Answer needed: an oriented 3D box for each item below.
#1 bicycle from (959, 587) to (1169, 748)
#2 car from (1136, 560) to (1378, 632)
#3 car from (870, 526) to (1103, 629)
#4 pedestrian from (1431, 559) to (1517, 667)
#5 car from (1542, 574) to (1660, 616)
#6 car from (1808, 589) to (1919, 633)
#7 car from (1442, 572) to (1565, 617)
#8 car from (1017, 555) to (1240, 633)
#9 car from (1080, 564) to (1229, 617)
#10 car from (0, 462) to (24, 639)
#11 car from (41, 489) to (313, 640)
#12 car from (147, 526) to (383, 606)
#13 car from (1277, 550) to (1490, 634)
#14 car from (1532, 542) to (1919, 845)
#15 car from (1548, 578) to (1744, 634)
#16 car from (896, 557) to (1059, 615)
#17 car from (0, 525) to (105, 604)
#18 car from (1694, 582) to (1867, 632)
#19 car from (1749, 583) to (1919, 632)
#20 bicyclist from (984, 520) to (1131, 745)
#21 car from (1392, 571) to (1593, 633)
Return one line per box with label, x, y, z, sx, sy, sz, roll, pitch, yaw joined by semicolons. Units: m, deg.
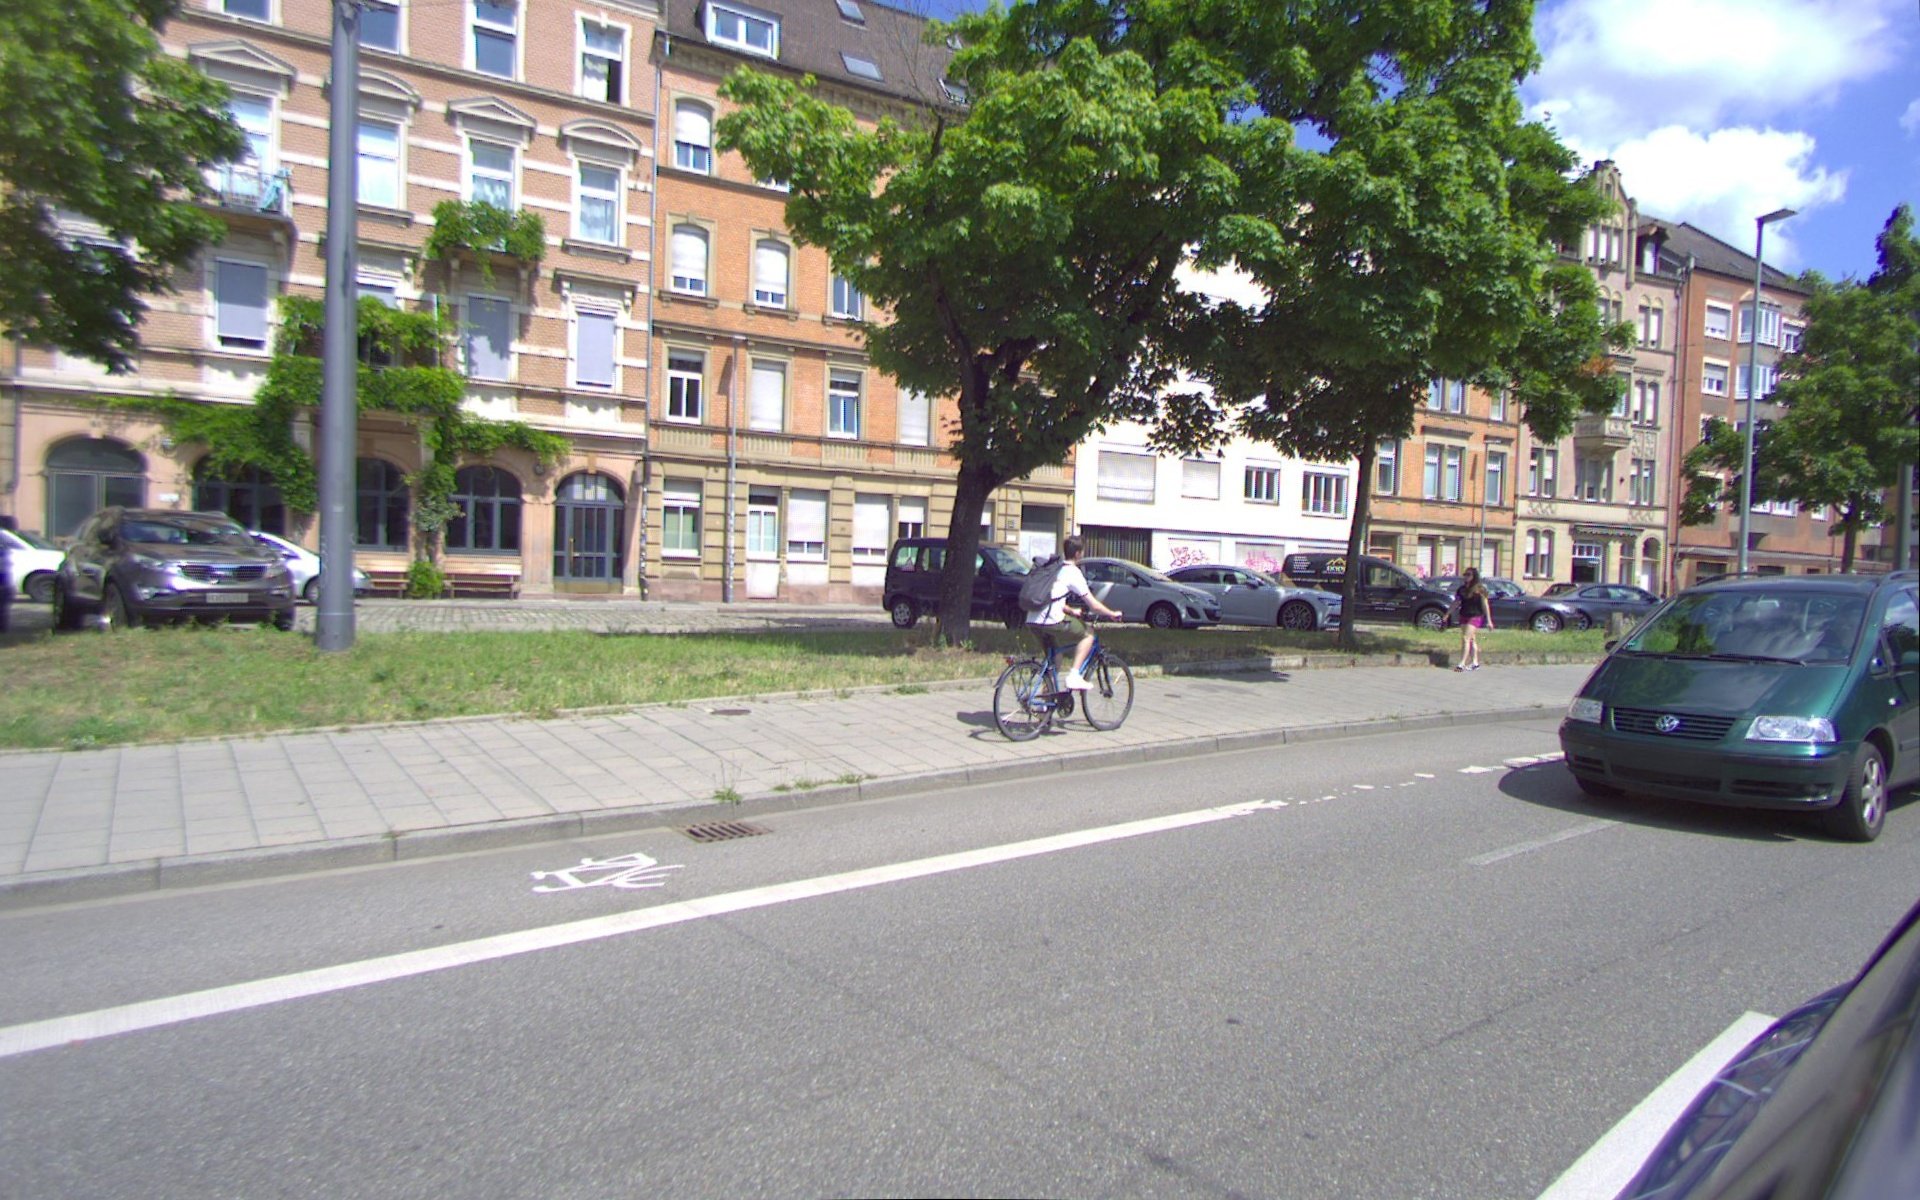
bicycle;0.960;0.548;9.123;1.805;1.256;0.696;0;7;-37
car;6.264;-0.125;21.533;4.655;1.397;1.832;1;1;31
car;0.449;-0.431;19.252;4.122;1.763;1.830;1;1;35
pedestrian;8.070;0.189;15.910;0.886;1.611;0.704;1;4;-26
car;26.025;-0.217;41.074;4.401;1.636;1.842;0;1;-23
car;30.704;0.335;33.494;3.985;1.371;1.931;2;1;43
car;20.730;-0.227;38.588;4.402;1.636;1.841;0;1;-25
car;3.349;-0.152;20.253;4.050;1.423;1.833;1;1;30
car;5.895;-0.287;30.694;4.139;1.510;1.841;0;1;-25
car;-12.908;-0.585;11.861;4.598;1.951;1.893;1;1;34
car;-10.330;-0.439;13.255;4.153;1.677;1.890;1;1;38
car;-14.129;-0.660;20.849;3.774;1.510;1.667;0;1;-25
car;9.633;-0.215;23.097;4.327;1.763;1.834;1;1;29
car;6.858;0.554;7.984;4.931;1.778;1.827;1;2;-31
car;18.605;0.122;27.717;4.231;1.397;1.834;1;1;29
car;0.488;-0.385;28.185;4.139;1.510;1.841;0;1;-25
car;-18.222;-0.681;18.781;3.280;1.420;1.572;1;2;-23
car;24.946;0.179;30.972;3.977;1.397;1.935;1;1;37
car;27.660;0.202;32.050;3.970;1.397;1.939;1;1;32
bicyclist;0.861;0.256;9.011;0.938;1.845;0.697;0;7;-37
car;12.995;0.008;24.892;4.231;1.397;1.834;1;1;29
